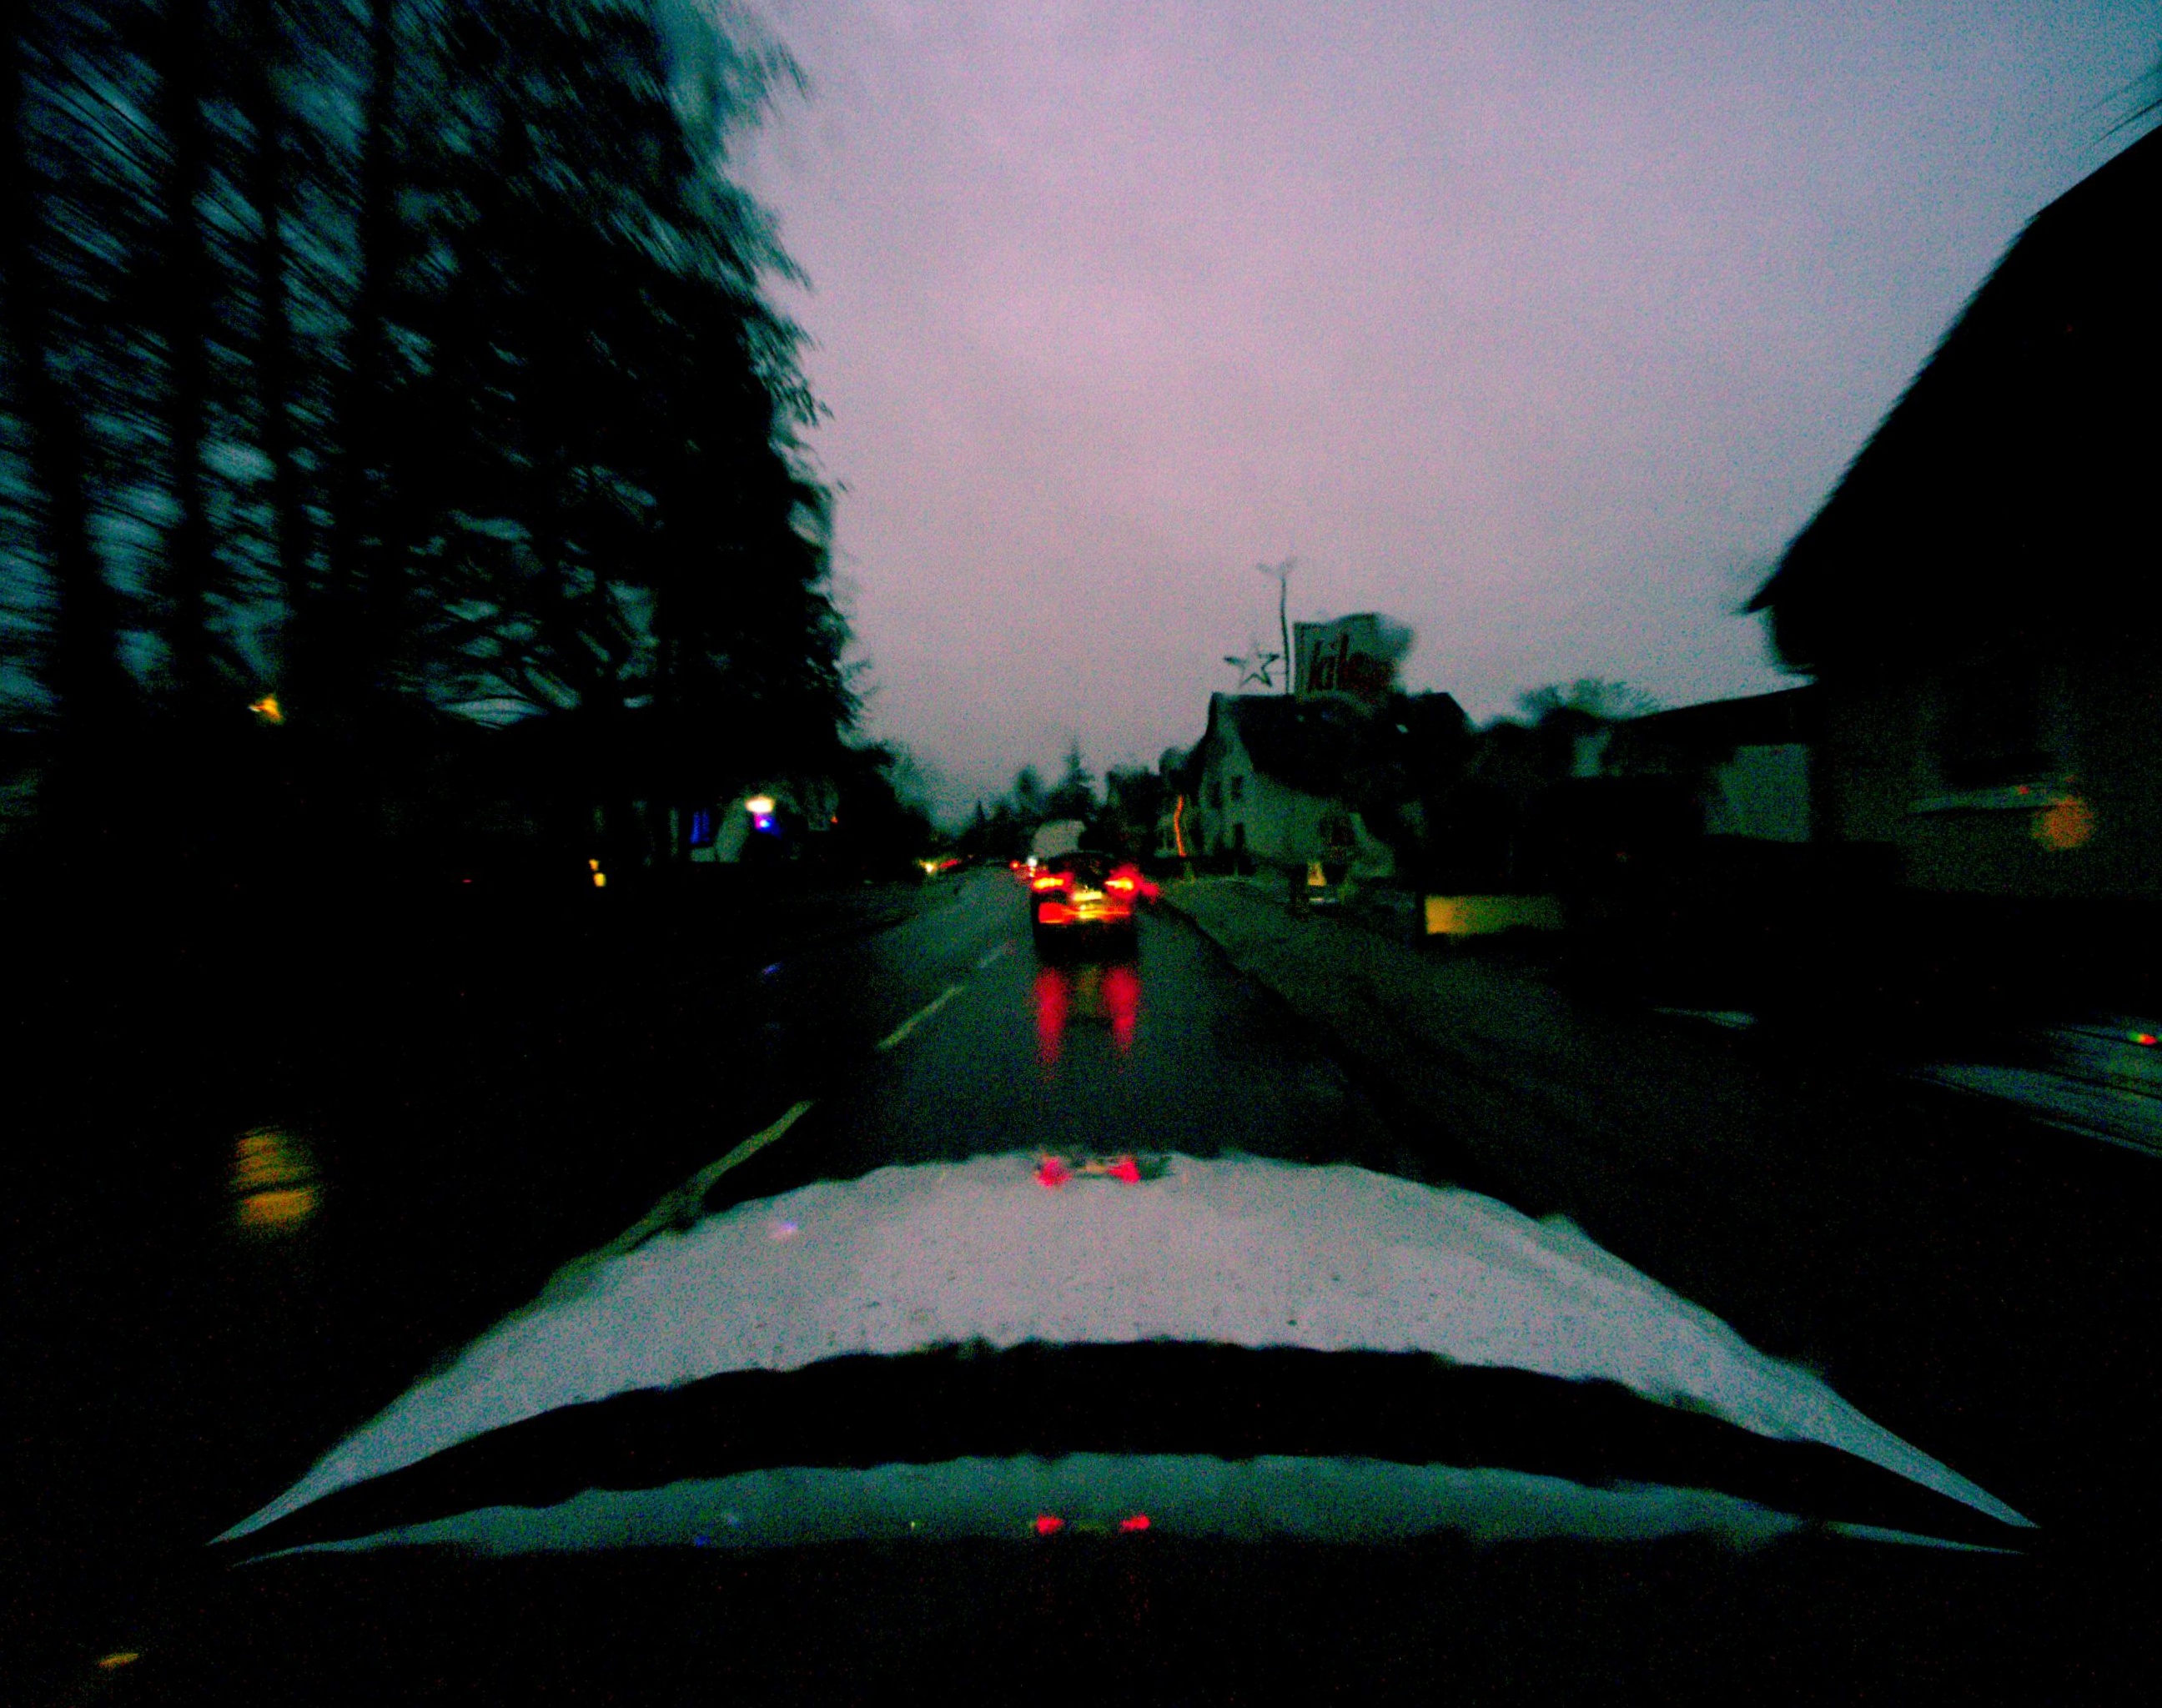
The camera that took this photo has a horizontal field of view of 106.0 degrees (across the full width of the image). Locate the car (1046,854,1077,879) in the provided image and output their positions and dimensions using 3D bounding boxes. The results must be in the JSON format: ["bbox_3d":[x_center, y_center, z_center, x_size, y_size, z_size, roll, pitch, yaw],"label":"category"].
[{"bbox_3d":[-1.697,1.008,67.272,2.305,1.938,5.011,-2,-1,-4],"label":"car"}]

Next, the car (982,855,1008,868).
[{"bbox_3d":[-14.840,1.314,140.656,4.249,2.013,1.803,-2,0,-12],"label":"car"}]

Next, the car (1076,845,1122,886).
[{"bbox_3d":[0.761,0.461,34.825,1.851,1.647,4.000,-1,0,1],"label":"car"}]

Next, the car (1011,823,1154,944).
[{"bbox_3d":[0.068,0.515,16.010,2.301,1.938,5.018,-2,-1,1],"label":"car"}]

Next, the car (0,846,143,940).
[{"bbox_3d":[-28.098,0.981,20.797,2.274,2.278,5.266,1,1,-2],"label":"car"}]

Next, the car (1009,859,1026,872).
[{"bbox_3d":[-7.261,1.318,92.543,1.840,1.331,3.929,-2,0,-6],"label":"car"}]
